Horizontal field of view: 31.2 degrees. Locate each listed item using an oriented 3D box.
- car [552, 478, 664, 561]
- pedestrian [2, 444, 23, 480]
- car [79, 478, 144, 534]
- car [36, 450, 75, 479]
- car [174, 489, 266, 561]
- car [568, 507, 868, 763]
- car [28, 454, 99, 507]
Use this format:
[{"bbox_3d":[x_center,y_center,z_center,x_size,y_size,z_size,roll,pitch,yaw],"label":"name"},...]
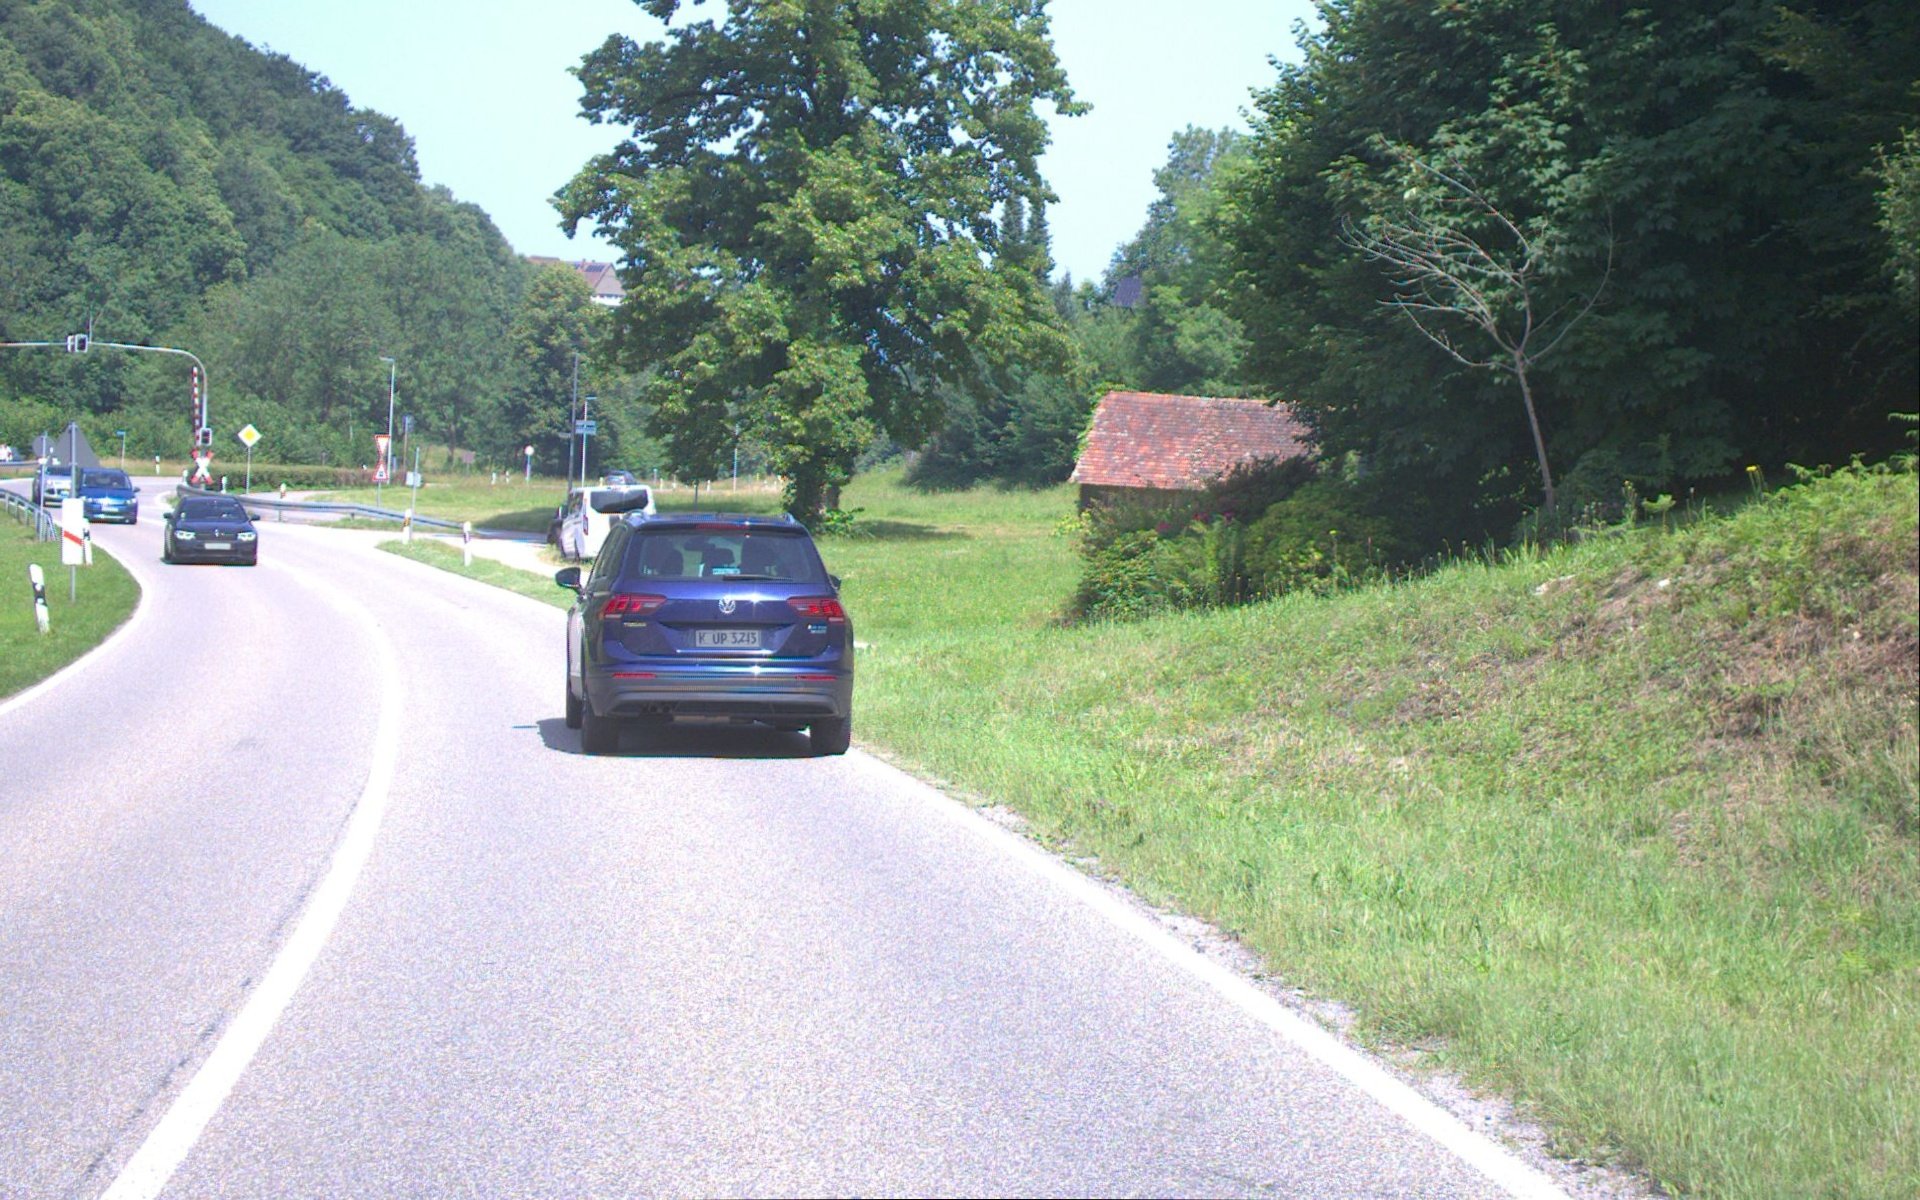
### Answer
[{"bbox_3d":[-8.698,-2.009,84.576,1.998,1.842,4.871,-3,3,-14],"label":"car"},{"bbox_3d":[-48.427,-7.050,175.642,0.648,1.852,0.770,3,2,30],"label":"pedestrian"},{"bbox_3d":[-25.895,-2.891,104.936,1.865,1.618,4.512,1,2,-13],"label":"car"},{"bbox_3d":[-47.489,-7.123,180.586,1.825,1.495,4.279,1,2,-13],"label":"car"},{"bbox_3d":[-16.539,-1.683,76.686,1.916,1.465,4.512,1,2,-13],"label":"car"},{"bbox_3d":[-1.798,0.178,24.303,1.852,1.643,4.141,0,1,-8],"label":"car"},{"bbox_3d":[-30.752,-4.104,117.859,1.914,1.708,4.161,1,2,-20],"label":"car"}]
